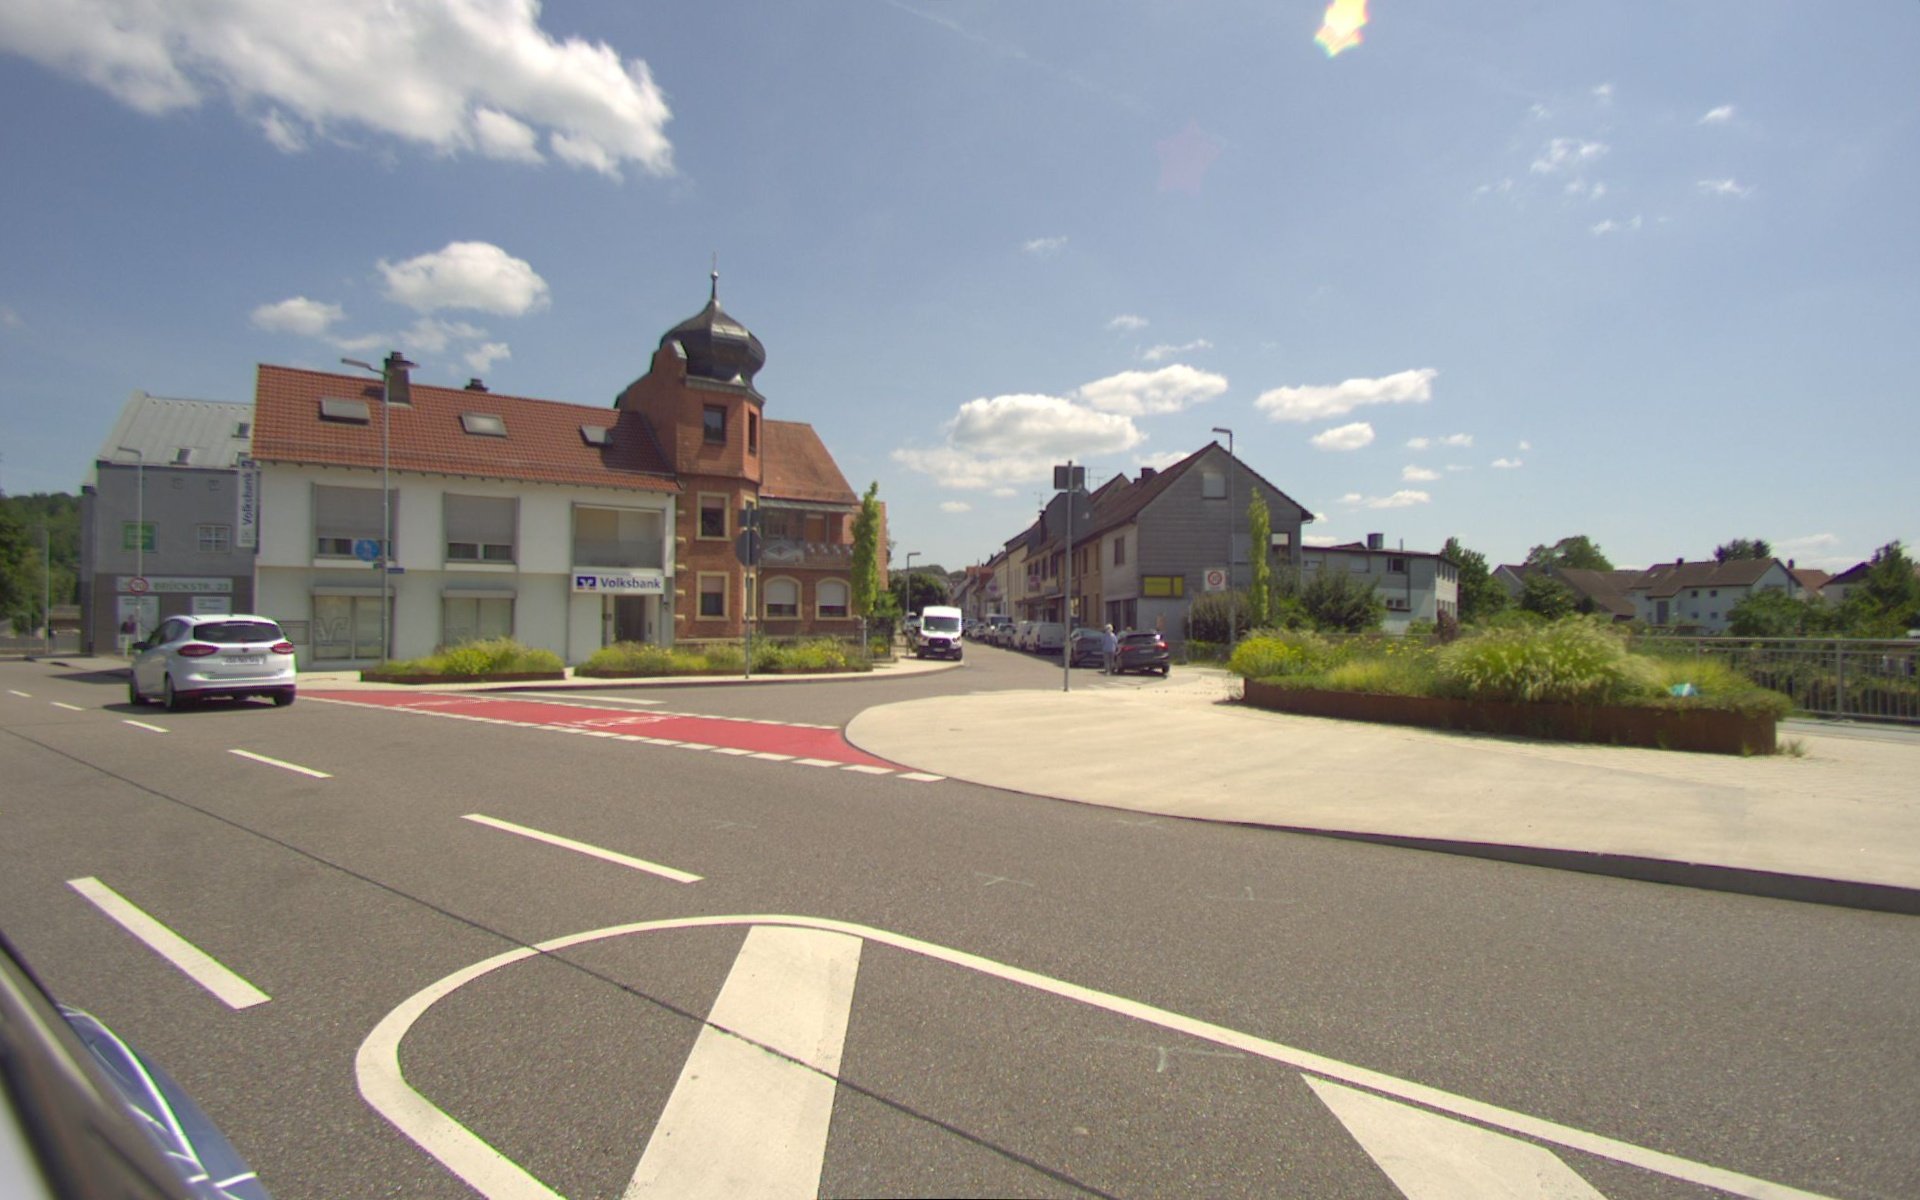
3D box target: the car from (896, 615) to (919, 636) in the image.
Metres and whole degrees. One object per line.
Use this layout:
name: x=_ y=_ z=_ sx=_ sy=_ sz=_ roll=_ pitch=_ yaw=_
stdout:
car: x=-5.382 y=2.612 z=103.973 sx=1.968 sy=2.029 sz=4.007 roll=1 pitch=-2 yaw=-8

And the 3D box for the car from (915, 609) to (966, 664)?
car: x=-0.833 y=1.684 z=47.168 sx=2.144 sy=2.363 sz=5.110 roll=1 pitch=-2 yaw=1

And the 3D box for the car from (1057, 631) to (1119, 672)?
car: x=5.160 y=2.072 z=41.383 sx=1.761 sy=1.559 sz=4.236 roll=1 pitch=-2 yaw=-3

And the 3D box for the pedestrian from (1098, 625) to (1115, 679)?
pedestrian: x=4.838 y=1.702 z=33.371 sx=0.500 sy=1.762 sz=0.614 roll=0 pitch=-2 yaw=4

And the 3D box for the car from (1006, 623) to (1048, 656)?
car: x=4.103 y=2.419 z=62.567 sx=1.894 sy=1.892 sz=4.005 roll=1 pitch=-2 yaw=-5

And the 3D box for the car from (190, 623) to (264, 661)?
car: x=-31.836 y=1.836 z=44.066 sx=1.965 sy=1.587 sz=4.266 roll=2 pitch=-3 yaw=-28

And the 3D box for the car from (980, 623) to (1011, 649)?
car: x=2.694 y=2.750 z=77.684 sx=1.839 sy=1.864 sz=4.005 roll=1 pitch=-2 yaw=-6

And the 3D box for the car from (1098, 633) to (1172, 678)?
car: x=6.003 y=1.898 z=35.212 sx=1.835 sy=1.475 sz=4.000 roll=0 pitch=-2 yaw=-1

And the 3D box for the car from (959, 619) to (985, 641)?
car: x=1.069 y=2.729 z=91.293 sx=1.839 sy=1.864 sz=4.005 roll=1 pitch=-2 yaw=-6

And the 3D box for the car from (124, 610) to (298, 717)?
car: x=-13.317 y=1.012 z=17.916 sx=4.000 sy=1.662 sz=1.795 roll=-1 pitch=0 yaw=43

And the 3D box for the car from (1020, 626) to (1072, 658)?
car: x=4.814 y=2.359 z=57.349 sx=2.036 sy=1.741 sz=4.007 roll=1 pitch=-2 yaw=-9

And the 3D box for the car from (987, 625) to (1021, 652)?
car: x=3.154 y=2.754 z=72.676 sx=1.839 sy=1.864 sz=4.005 roll=1 pitch=-2 yaw=-6

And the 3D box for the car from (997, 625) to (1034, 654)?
car: x=3.697 y=2.631 z=67.662 sx=1.839 sy=1.864 sz=4.005 roll=1 pitch=-2 yaw=-6
